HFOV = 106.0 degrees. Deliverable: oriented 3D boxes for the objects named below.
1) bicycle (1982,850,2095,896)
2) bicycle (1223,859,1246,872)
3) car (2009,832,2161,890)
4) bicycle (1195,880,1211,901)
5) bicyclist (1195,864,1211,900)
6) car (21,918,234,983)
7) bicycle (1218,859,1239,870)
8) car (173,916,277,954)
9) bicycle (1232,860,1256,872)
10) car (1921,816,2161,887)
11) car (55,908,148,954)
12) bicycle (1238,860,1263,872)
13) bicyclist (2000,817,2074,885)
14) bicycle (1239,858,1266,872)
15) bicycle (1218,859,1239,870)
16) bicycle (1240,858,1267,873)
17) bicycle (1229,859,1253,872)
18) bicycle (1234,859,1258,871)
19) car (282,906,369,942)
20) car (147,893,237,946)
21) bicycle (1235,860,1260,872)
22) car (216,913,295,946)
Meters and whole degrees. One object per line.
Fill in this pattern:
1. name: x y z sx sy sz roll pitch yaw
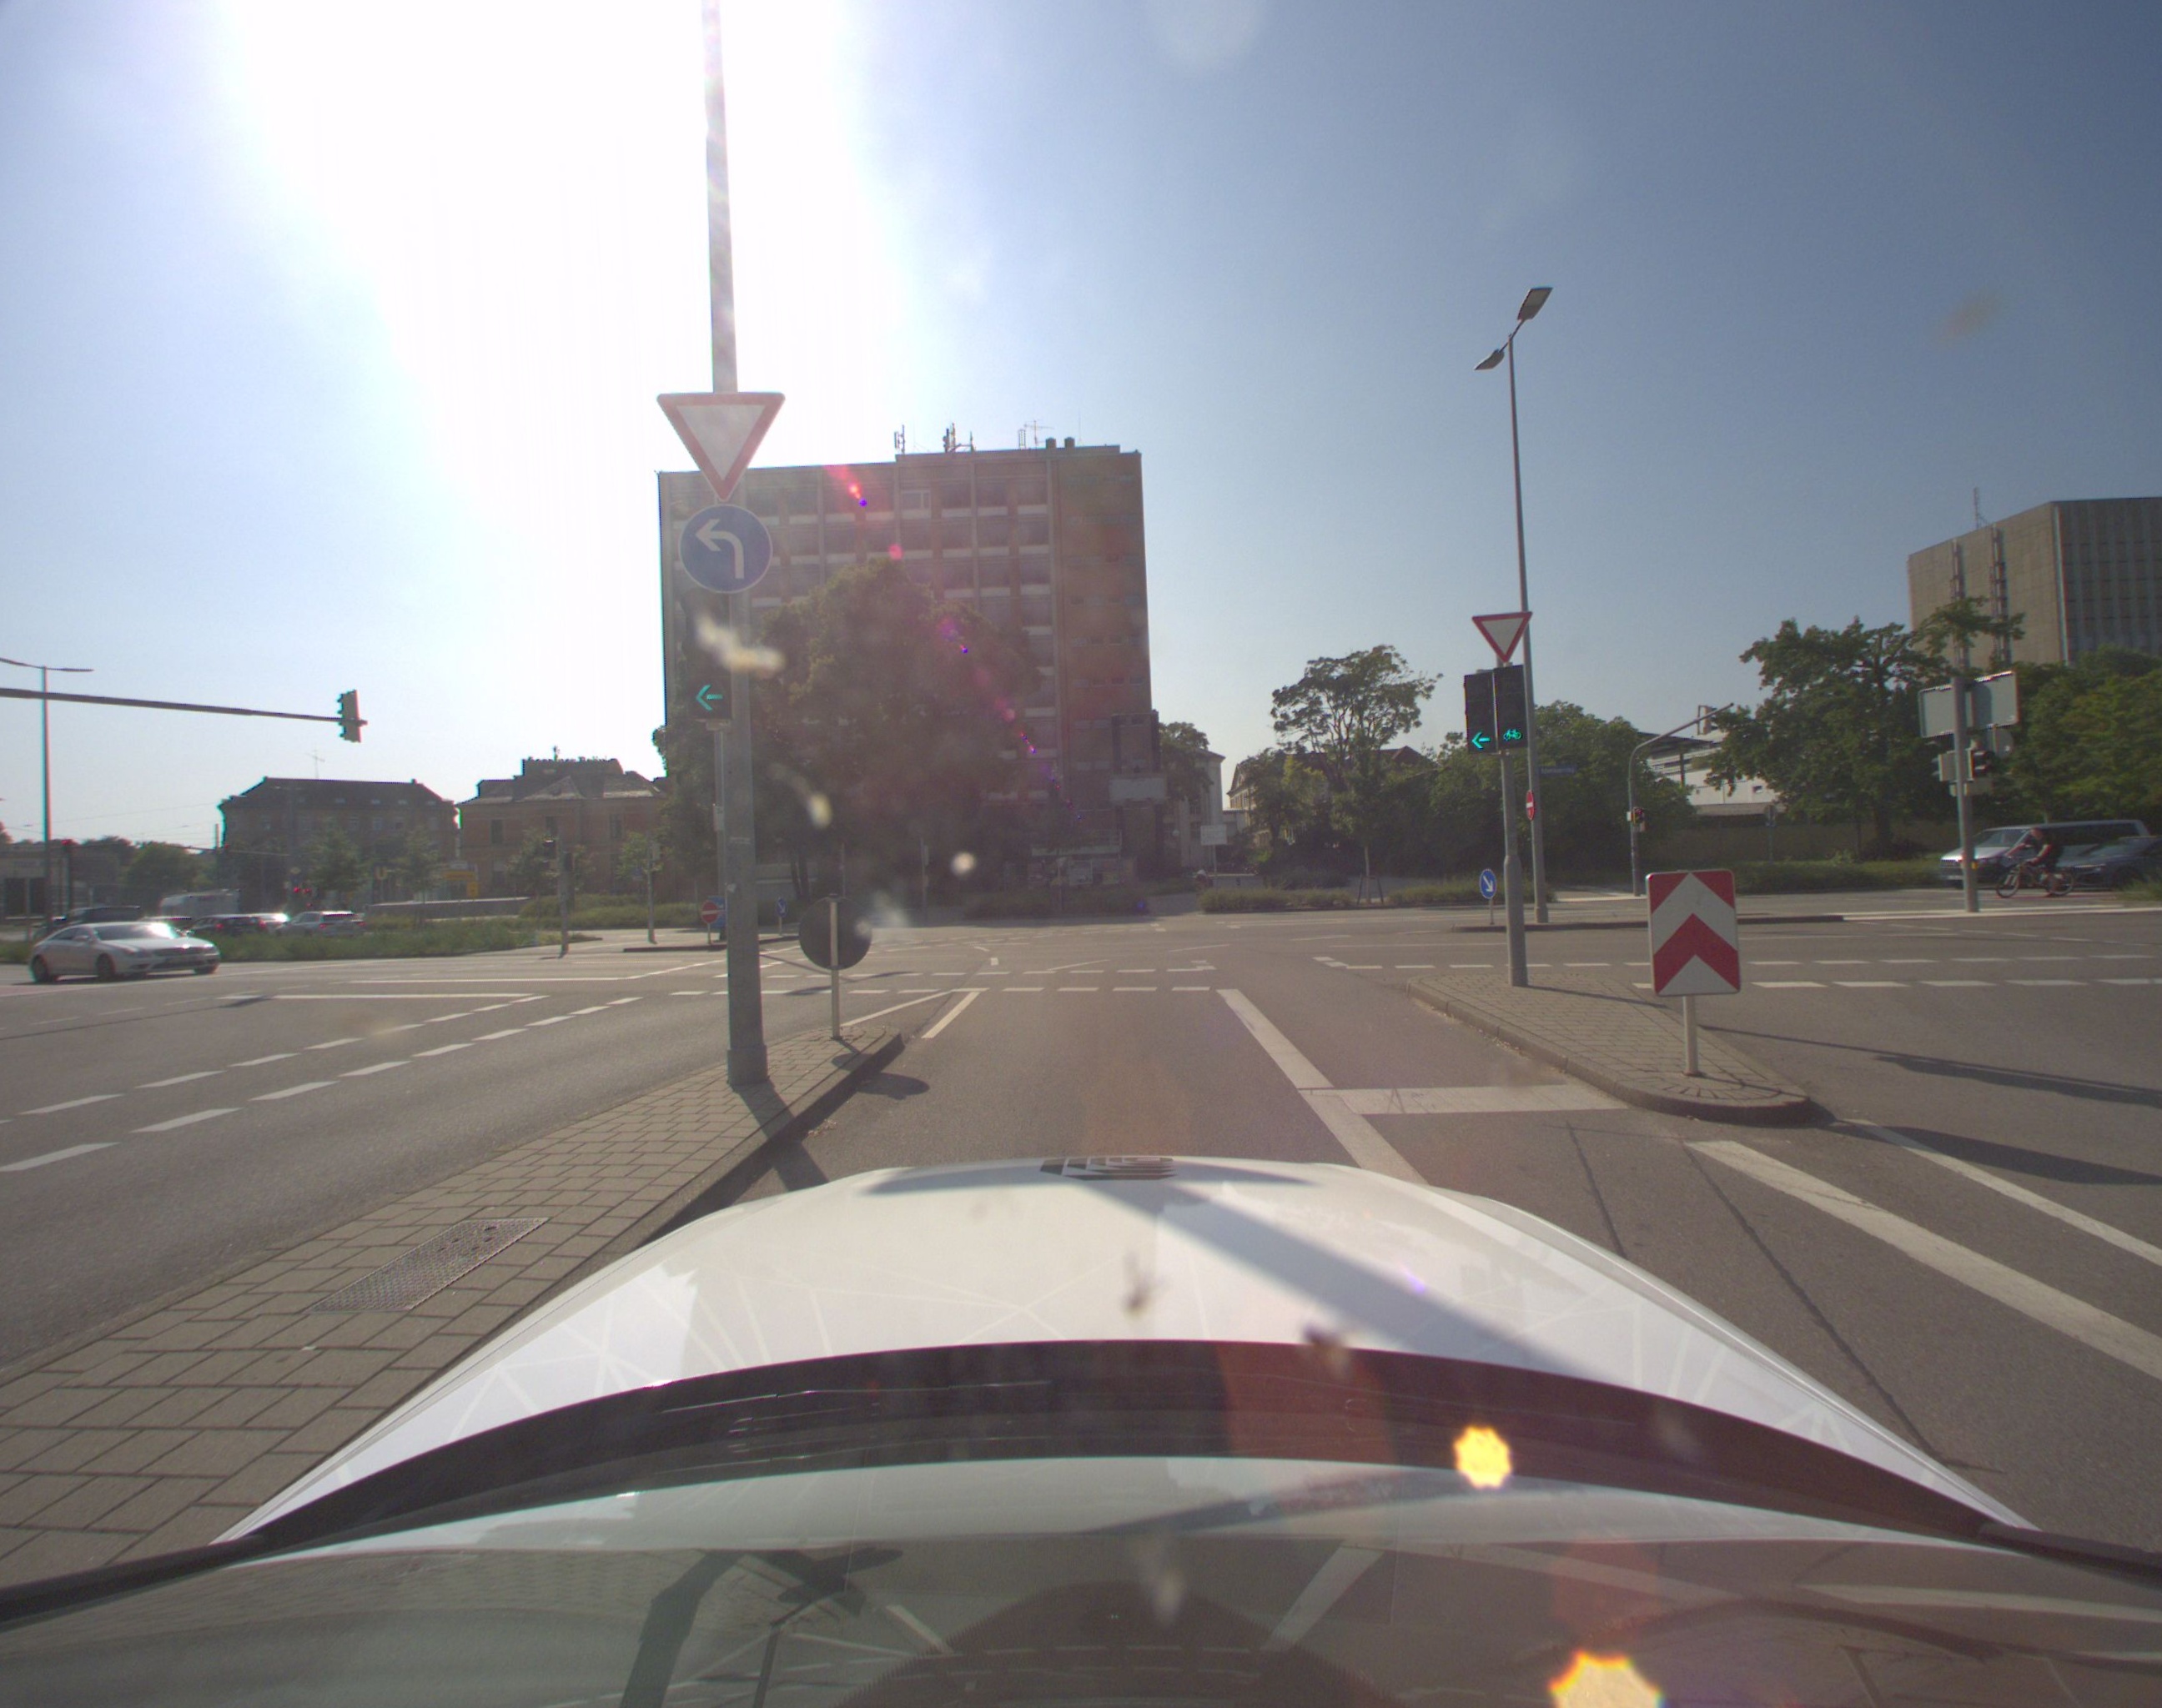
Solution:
1. bicycle: 23.933 0.470 20.386 1.760 1.052 0.771 -3 -1 6
2. bicycle: 16.648 1.249 88.282 2.414 1.282 0.721 -1 -1 6
3. car: 28.995 0.133 22.132 4.876 1.401 1.916 -3 -1 8
4. bicycle: 5.499 1.623 36.630 0.669 0.879 1.405 -3 -1 10
5. bicyclist: 5.504 1.261 36.757 0.646 1.601 0.922 -3 -1 10
6. car: -24.005 2.405 20.509 4.763 1.361 1.857 -3 -1 19
7. bicycle: 17.375 1.269 96.075 2.414 1.280 0.721 -1 -1 6
8. car: -35.676 3.363 33.926 3.915 1.368 1.716 -3 -2 23
9. bicycle: 16.905 1.215 84.431 2.414 1.239 0.721 -1 -1 6
10. car: 29.481 -0.046 25.050 4.929 1.875 1.851 -3 -1 8
11. car: -47.584 3.753 39.563 4.623 2.008 2.042 -4 -2 29
12. bicycle: 16.708 1.177 80.358 2.414 1.223 0.721 -1 -1 6
13. bicyclist: 23.925 -0.065 20.390 0.868 1.635 0.750 -3 -1 6
14. bicycle: 16.397 1.083 77.830 2.414 1.318 0.721 -1 -1 6
15. bicycle: 17.264 1.267 95.228 2.414 1.262 0.721 -1 -1 6
16. bicycle: 16.284 1.086 76.697 2.414 1.318 0.721 -1 -1 6
17. bicycle: 17.124 1.234 87.055 2.414 1.282 0.721 -1 -1 6
18. bicycle: 17.314 1.167 85.450 2.414 1.229 0.721 -1 -1 6
19. car: -33.746 3.113 36.379 3.588 1.387 1.700 -4 -2 27
20. car: -47.318 3.493 43.342 4.623 2.549 2.209 -4 -2 29
21. bicycle: 17.082 1.205 83.567 2.414 1.234 0.721 -1 -1 6
22. car: -39.590 3.629 39.036 3.892 1.403 1.502 -4 -2 27
